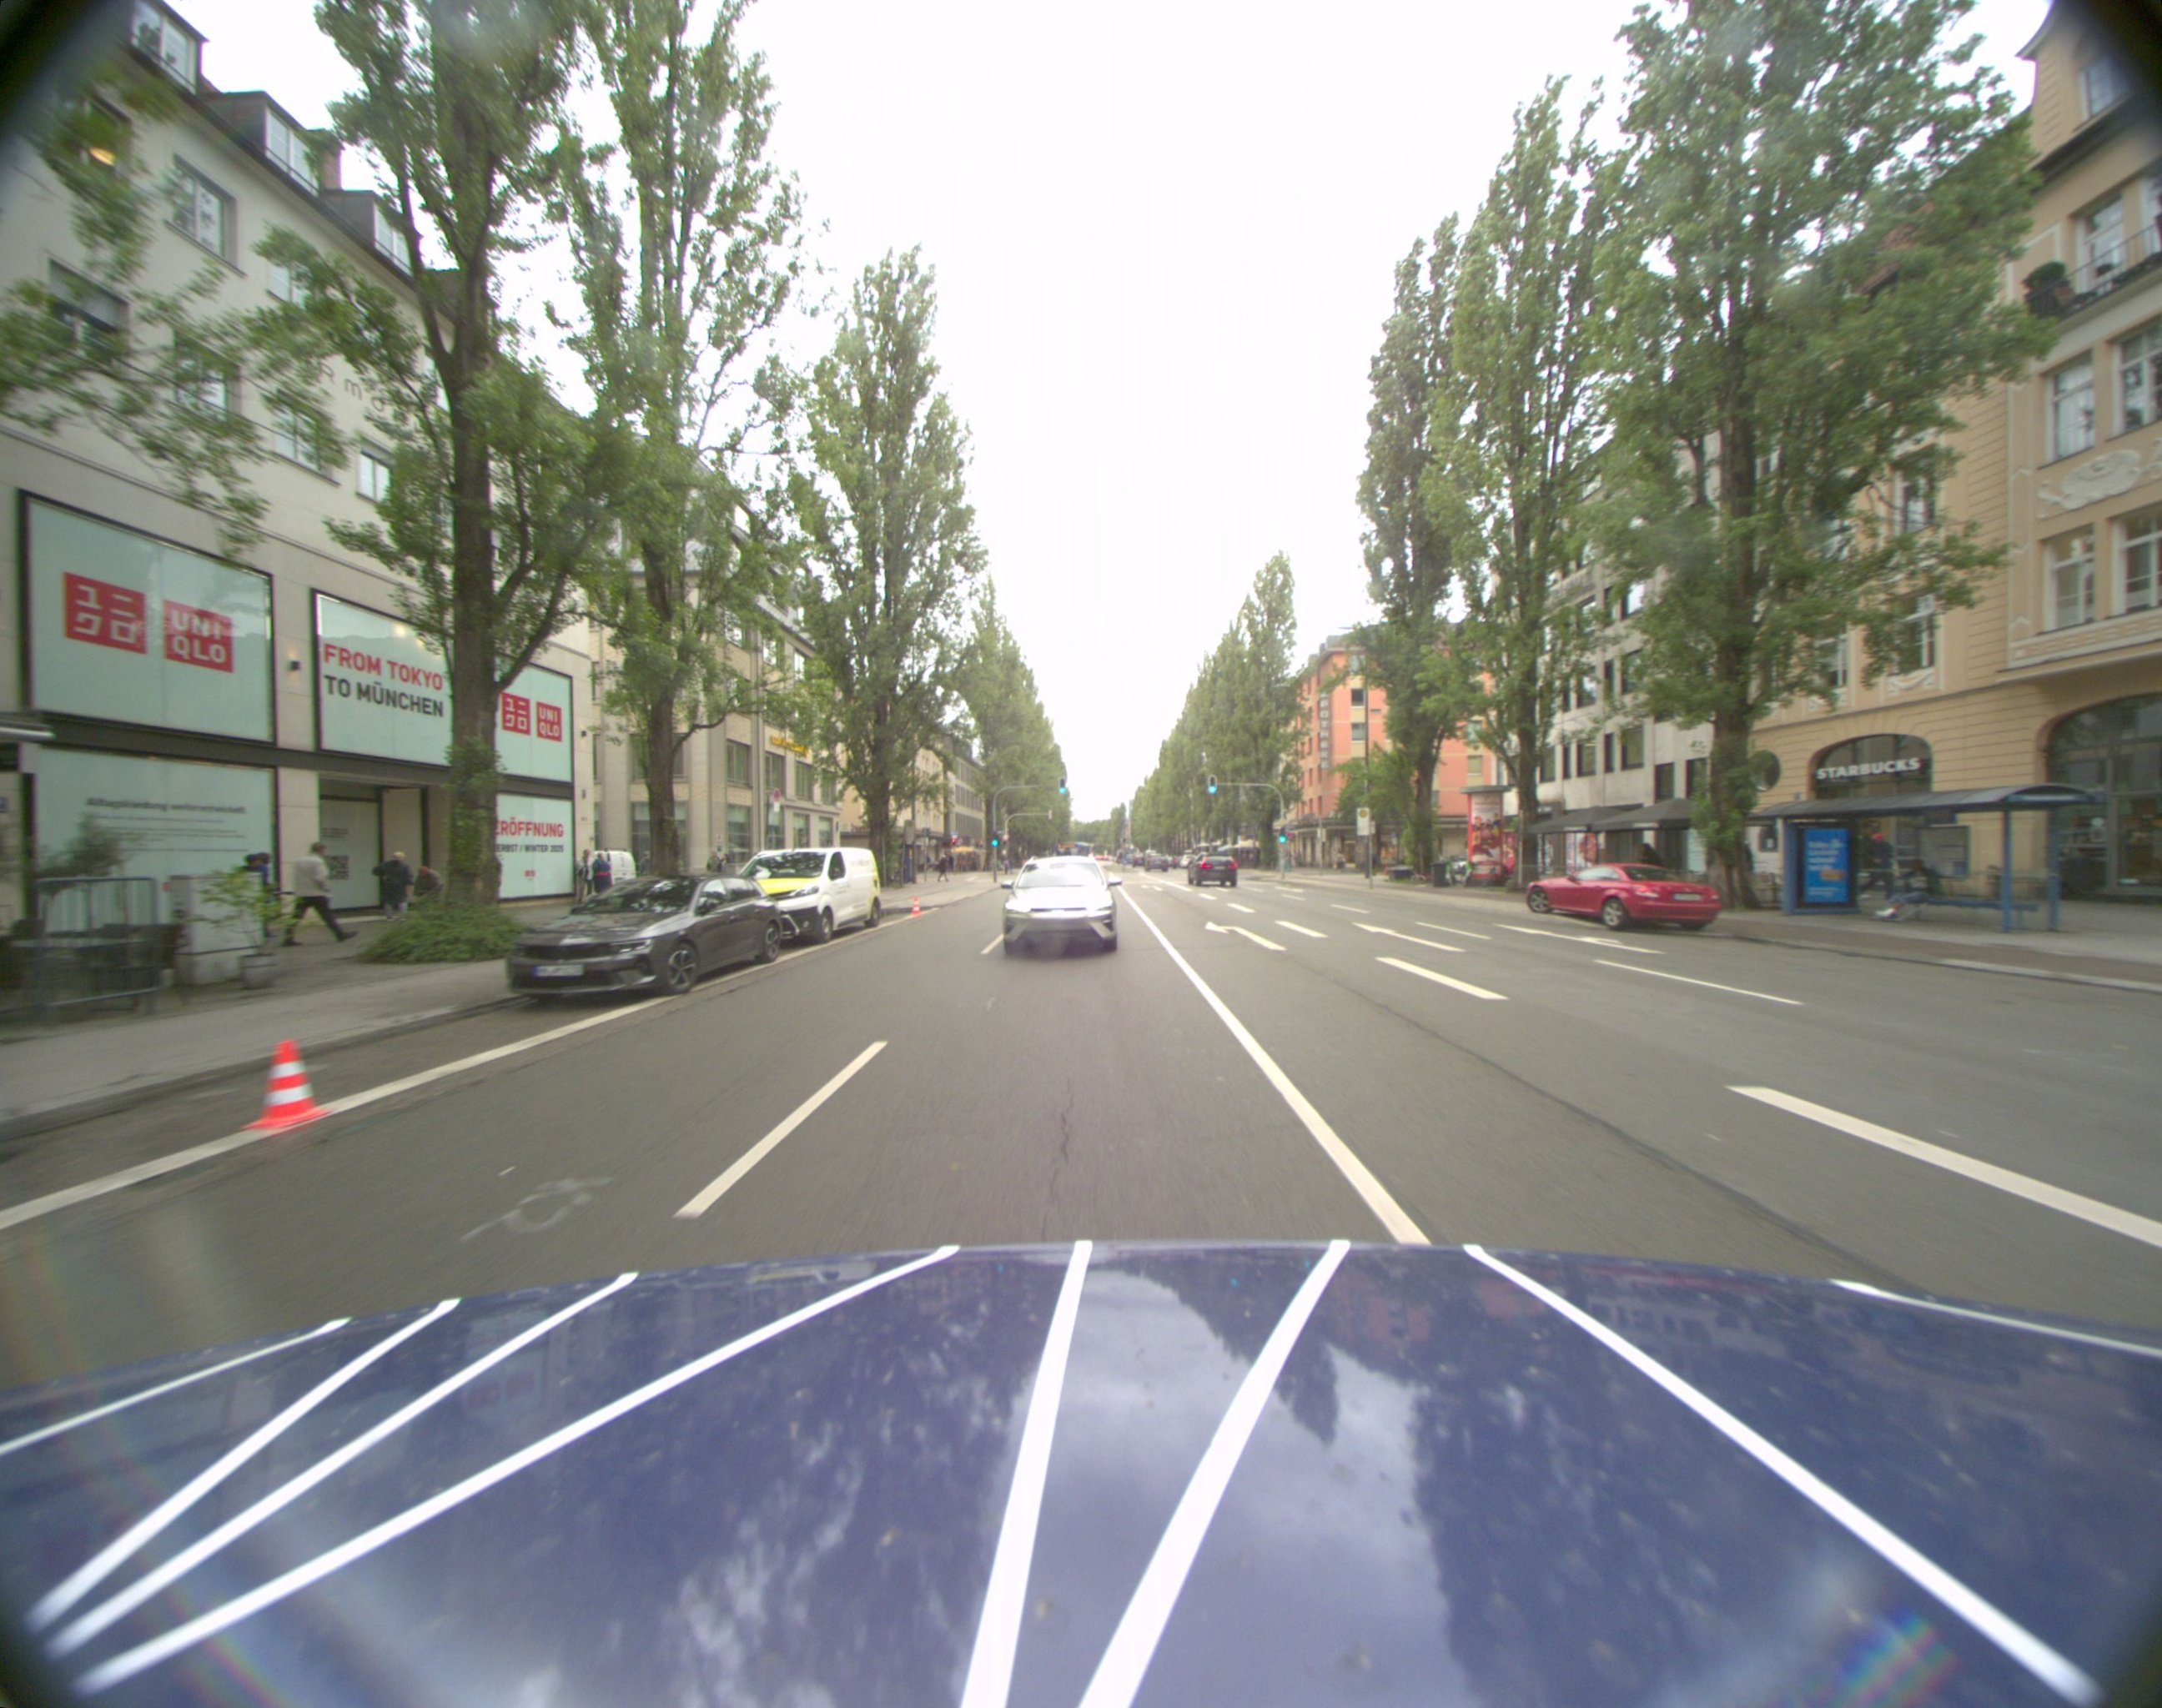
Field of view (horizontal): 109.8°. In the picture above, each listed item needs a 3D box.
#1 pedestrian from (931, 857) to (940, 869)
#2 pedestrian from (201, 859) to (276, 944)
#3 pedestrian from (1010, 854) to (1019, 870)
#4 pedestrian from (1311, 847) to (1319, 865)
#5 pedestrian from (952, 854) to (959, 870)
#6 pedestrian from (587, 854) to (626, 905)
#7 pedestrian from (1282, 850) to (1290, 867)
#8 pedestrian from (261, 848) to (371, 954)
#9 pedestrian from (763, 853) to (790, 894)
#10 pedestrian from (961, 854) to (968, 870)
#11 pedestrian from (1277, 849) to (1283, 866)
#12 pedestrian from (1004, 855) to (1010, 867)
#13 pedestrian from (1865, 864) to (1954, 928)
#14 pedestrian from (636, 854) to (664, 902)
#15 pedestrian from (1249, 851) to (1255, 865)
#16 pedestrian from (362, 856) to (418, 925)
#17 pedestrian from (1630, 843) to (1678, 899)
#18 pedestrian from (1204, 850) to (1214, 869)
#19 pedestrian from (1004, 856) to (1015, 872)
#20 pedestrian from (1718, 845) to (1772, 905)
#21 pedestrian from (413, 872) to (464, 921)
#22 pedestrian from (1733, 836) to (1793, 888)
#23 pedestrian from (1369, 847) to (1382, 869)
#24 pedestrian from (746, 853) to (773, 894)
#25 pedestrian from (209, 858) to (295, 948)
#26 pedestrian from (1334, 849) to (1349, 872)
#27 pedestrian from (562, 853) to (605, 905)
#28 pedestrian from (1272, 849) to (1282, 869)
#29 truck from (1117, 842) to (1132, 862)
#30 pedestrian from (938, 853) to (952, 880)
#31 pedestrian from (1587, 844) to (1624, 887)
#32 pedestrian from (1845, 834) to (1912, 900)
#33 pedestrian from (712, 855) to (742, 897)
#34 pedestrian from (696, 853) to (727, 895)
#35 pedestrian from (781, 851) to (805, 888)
[{"bbox_3d":[-15.299,0.920,80.130,0.777,1.257,0.699,-1,1,1],"label":"pedestrian"},{"bbox_3d":[-16.304,0.900,14.723,0.671,1.600,0.684,0,1,7],"label":"pedestrian"},{"bbox_3d":[-6.427,0.771,73.689,0.767,1.600,0.864,-1,0,-3],"label":"pedestrian"},{"bbox_3d":[22.459,0.165,72.825,0.588,1.681,0.514,0,1,1],"label":"pedestrian"},{"bbox_3d":[-13.294,0.849,80.403,0.541,1.664,0.537,-1,1,8],"label":"pedestrian"},{"bbox_3d":[-15.743,0.839,25.231,0.653,1.653,0.963,-1,1,1],"label":"pedestrian"},{"bbox_3d":[20.476,0.475,75.752,0.631,1.679,0.519,-2,1,2],"label":"pedestrian"},{"bbox_3d":[-13.820,0.817,13.761,0.828,1.830,1.099,-1,1,1],"label":"pedestrian"},{"bbox_3d":[-13.285,0.829,33.145,0.752,1.748,0.859,0,2,2],"label":"pedestrian"},{"bbox_3d":[-12.320,0.866,80.175,0.541,1.664,0.537,-1,1,8],"label":"pedestrian"},{"bbox_3d":[19.789,0.324,75.574,0.508,1.661,0.626,-1,1,2],"label":"pedestrian"},{"bbox_3d":[-11.301,1.066,115.927,0.658,1.840,0.906,0,1,3],"label":"pedestrian"},{"bbox_3d":[16.843,0.841,15.462,0.963,1.249,0.757,-1,1,2],"label":"pedestrian"},{"bbox_3d":[-15.419,0.841,27.176,0.827,1.664,0.985,-1,1,-29],"label":"pedestrian"},{"bbox_3d":[21.190,0.481,94.215,0.556,1.707,0.692,-1,1,0],"label":"pedestrian"},{"bbox_3d":[-16.505,0.856,18.174,0.672,1.600,0.827,-1,1,-16],"label":"pedestrian"},{"bbox_3d":[17.979,0.533,23.860,0.908,1.733,0.821,0,0,6],"label":"pedestrian"},{"bbox_3d":[12.324,0.547,72.903,0.736,1.785,0.994,-2,1,19],"label":"pedestrian"},{"bbox_3d":[-6.727,0.940,71.725,0.620,1.509,0.767,-3,4,-45],"label":"pedestrian"},{"bbox_3d":[19.591,0.617,22.440,0.908,1.734,0.820,-1,1,6],"label":"pedestrian"},{"bbox_3d":[-16.677,1.092,19.744,0.671,1.227,0.684,-2,1,2],"label":"pedestrian"},{"bbox_3d":[22.728,0.255,25.329,1.084,1.675,0.989,-2,1,3],"label":"pedestrian"},{"bbox_3d":[23.588,0.293,60.873,0.780,1.756,0.692,-1,1,1],"label":"pedestrian"},{"bbox_3d":[-14.077,0.856,33.326,0.752,1.748,0.859,0,2,2],"label":"pedestrian"},{"bbox_3d":[-15.381,0.888,14.121,0.671,1.600,0.771,-2,1,4],"label":"pedestrian"},{"bbox_3d":[18.621,0.462,54.312,0.780,1.609,0.934,-1,0,0],"label":"pedestrian"},{"bbox_3d":[-16.495,0.811,25.222,0.752,1.708,0.963,0,1,1],"label":"pedestrian"},{"bbox_3d":[17.396,0.428,67.546,0.726,1.761,0.778,-1,1,2],"label":"pedestrian"},{"bbox_3d":[8.311,-0.348,144.917,2.469,3.649,8.438,-1,1,1],"label":"truck"},{"bbox_3d":[-9.040,0.824,50.555,0.710,1.748,0.752,-1,1,2],"label":"pedestrian"},{"bbox_3d":[21.595,0.470,31.310,0.845,1.734,0.954,-2,1,2],"label":"pedestrian"},{"bbox_3d":[21.182,0.336,20.206,0.734,1.672,0.977,-2,0,1],"label":"pedestrian"},{"bbox_3d":[-14.373,0.881,30.875,0.752,1.667,0.963,0,1,2],"label":"pedestrian"},{"bbox_3d":[-15.200,0.802,31.250,0.752,1.708,0.963,-1,0,2],"label":"pedestrian"},{"bbox_3d":[-14.208,0.742,37.484,0.820,1.807,0.890,-1,1,-1],"label":"pedestrian"}]
